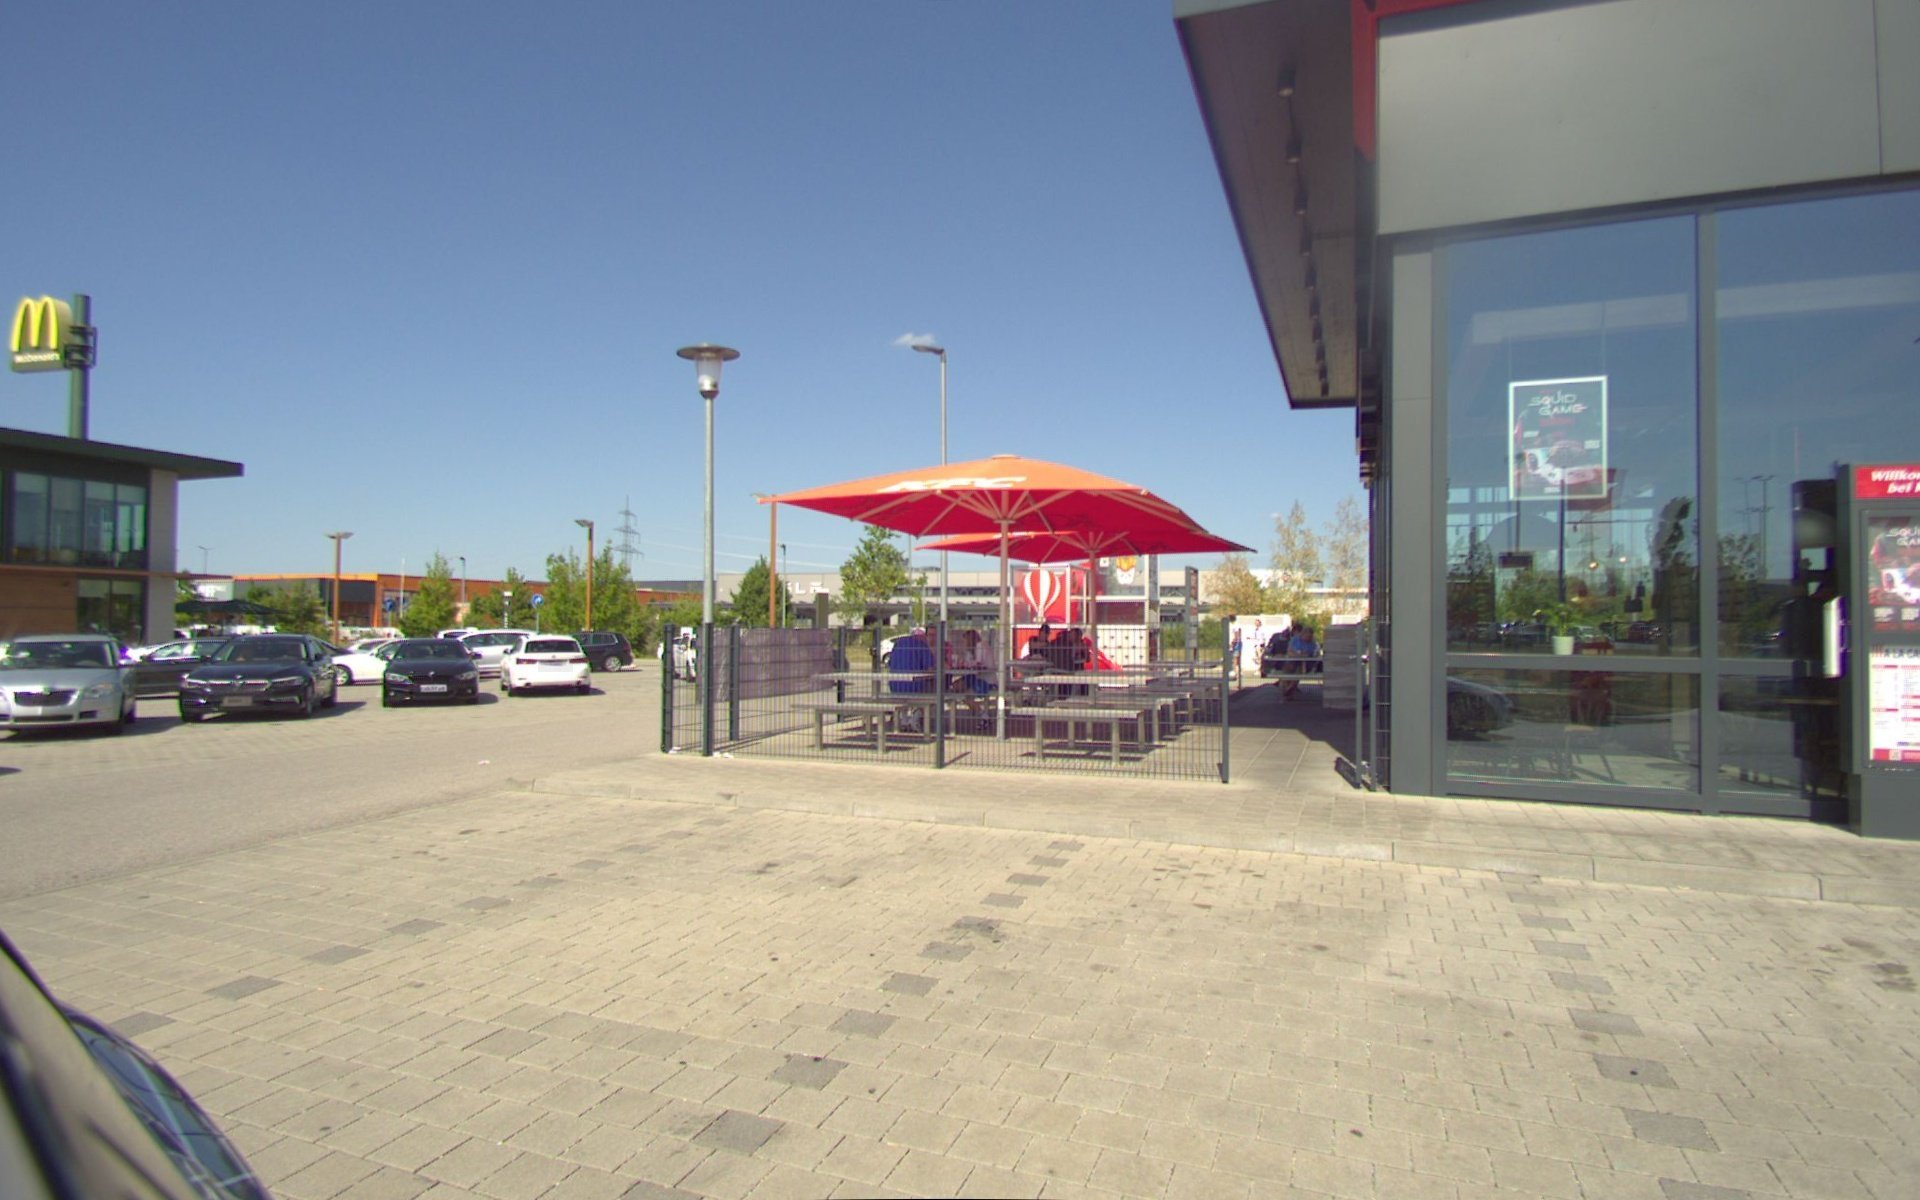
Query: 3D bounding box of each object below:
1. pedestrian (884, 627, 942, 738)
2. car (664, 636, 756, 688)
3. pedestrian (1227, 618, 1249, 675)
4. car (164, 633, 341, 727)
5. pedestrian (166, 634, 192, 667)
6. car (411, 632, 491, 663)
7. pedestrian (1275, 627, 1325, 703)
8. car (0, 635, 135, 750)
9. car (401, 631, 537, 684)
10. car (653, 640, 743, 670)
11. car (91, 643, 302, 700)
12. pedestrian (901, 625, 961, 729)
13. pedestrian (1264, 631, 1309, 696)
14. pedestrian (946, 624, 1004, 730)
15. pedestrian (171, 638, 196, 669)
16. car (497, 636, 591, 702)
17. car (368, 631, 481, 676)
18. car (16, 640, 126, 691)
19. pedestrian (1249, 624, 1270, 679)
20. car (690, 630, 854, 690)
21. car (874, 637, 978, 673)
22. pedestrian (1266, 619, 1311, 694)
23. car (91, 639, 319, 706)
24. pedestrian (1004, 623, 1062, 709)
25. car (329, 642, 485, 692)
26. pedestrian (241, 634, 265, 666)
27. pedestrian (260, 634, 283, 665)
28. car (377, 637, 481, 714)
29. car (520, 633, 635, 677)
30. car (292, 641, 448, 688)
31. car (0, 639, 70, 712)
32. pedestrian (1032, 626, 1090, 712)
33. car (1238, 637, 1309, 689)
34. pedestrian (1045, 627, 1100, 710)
[{"bbox_3d":[-0.549,0.967,12.051,0.606,1.283,0.623,-1,-3,6],"label":"pedestrian"},{"bbox_3d":[-7.877,1.898,31.649,1.941,1.471,4.220,1,-3,-26],"label":"car"},{"bbox_3d":[8.817,1.486,32.109,0.523,1.787,0.532,-2,-3,27],"label":"pedestrian"},{"bbox_3d":[-12.923,1.396,18.822,1.941,1.498,4.798,1,-3,-26],"label":"car"},{"bbox_3d":[-37.831,2.441,49.028,0.691,1.571,0.723,0,-3,-7],"label":"pedestrian"},{"bbox_3d":[-26.489,2.498,52.712,3.862,1.573,1.748,-2,-3,26],"label":"car"},{"bbox_3d":[6.090,1.151,18.113,0.750,1.322,0.938,-2,-3,23],"label":"pedestrian"},{"bbox_3d":[-13.887,1.329,15.404,1.943,1.538,4.215,1,-3,-38],"label":"car"},{"bbox_3d":[-16.644,1.928,34.536,4.043,1.687,1.819,0,-2,-22],"label":"car"},{"bbox_3d":[-13.566,2.829,52.429,4.305,1.490,1.828,-1,-2,23],"label":"car"},{"bbox_3d":[-22.144,2.047,29.602,4.564,1.498,1.902,0,-2,-22],"label":"car"},{"bbox_3d":[-0.362,0.979,13.025,0.677,1.283,0.840,-1,-2,5],"label":"pedestrian"},{"bbox_3d":[6.230,1.198,19.297,0.750,1.209,0.689,-2,-3,23],"label":"pedestrian"},{"bbox_3d":[0.195,0.952,12.597,0.677,1.283,0.550,-1,-3,6],"label":"pedestrian"},{"bbox_3d":[-39.035,2.683,50.861,0.691,1.571,0.723,0,-3,-7],"label":"pedestrian"},{"bbox_3d":[-10.391,1.650,25.091,1.805,1.471,4.599,1,-3,-27],"label":"car"},{"bbox_3d":[-22.240,2.205,42.187,3.890,1.788,1.658,0,-3,-17],"label":"car"},{"bbox_3d":[-30.286,2.188,34.614,1.687,1.625,4.049,0,-3,-24],"label":"car"},{"bbox_3d":[9.878,1.683,33.353,0.523,1.787,0.532,-2,-3,27],"label":"pedestrian"},{"bbox_3d":[-5.287,1.662,28.391,4.229,1.603,1.863,1,-3,-21],"label":"car"},{"bbox_3d":[-1.576,2.542,47.260,4.540,1.605,1.831,-1,-2,19],"label":"car"},{"bbox_3d":[6.547,1.118,20.174,0.792,1.454,0.689,-2,-3,20],"label":"pedestrian"},{"bbox_3d":[-18.590,1.745,25.184,4.206,1.498,1.819,0,-2,-22],"label":"car"},{"bbox_3d":[1.228,1.099,16.954,0.663,1.398,0.799,-2,-3,30],"label":"pedestrian"},{"bbox_3d":[-17.052,2.053,31.431,4.043,1.424,1.819,0,-2,-22],"label":"car"},{"bbox_3d":[-35.502,2.506,50.843,0.717,1.571,0.696,-1,-2,22],"label":"pedestrian"},{"bbox_3d":[-35.408,2.555,52.045,0.717,1.571,0.696,-1,-2,22],"label":"pedestrian"},{"bbox_3d":[-11.535,1.570,22.020,1.805,1.471,4.384,1,-3,-28],"label":"car"},{"bbox_3d":[-14.476,2.062,38.276,3.930,1.564,1.760,1,-3,-25],"label":"car"},{"bbox_3d":[-20.855,2.254,35.993,4.564,1.498,1.902,0,-2,-22],"label":"car"},{"bbox_3d":[-21.796,1.601,21.424,4.043,1.527,1.819,0,-2,-22],"label":"car"},{"bbox_3d":[1.587,1.068,15.930,0.663,1.314,0.705,-2,-3,30],"label":"pedestrian"},{"bbox_3d":[9.321,1.816,29.923,1.717,1.422,4.284,-1,-2,21],"label":"car"},{"bbox_3d":[1.848,1.117,16.647,0.663,1.314,0.680,-2,-3,30],"label":"pedestrian"}]
